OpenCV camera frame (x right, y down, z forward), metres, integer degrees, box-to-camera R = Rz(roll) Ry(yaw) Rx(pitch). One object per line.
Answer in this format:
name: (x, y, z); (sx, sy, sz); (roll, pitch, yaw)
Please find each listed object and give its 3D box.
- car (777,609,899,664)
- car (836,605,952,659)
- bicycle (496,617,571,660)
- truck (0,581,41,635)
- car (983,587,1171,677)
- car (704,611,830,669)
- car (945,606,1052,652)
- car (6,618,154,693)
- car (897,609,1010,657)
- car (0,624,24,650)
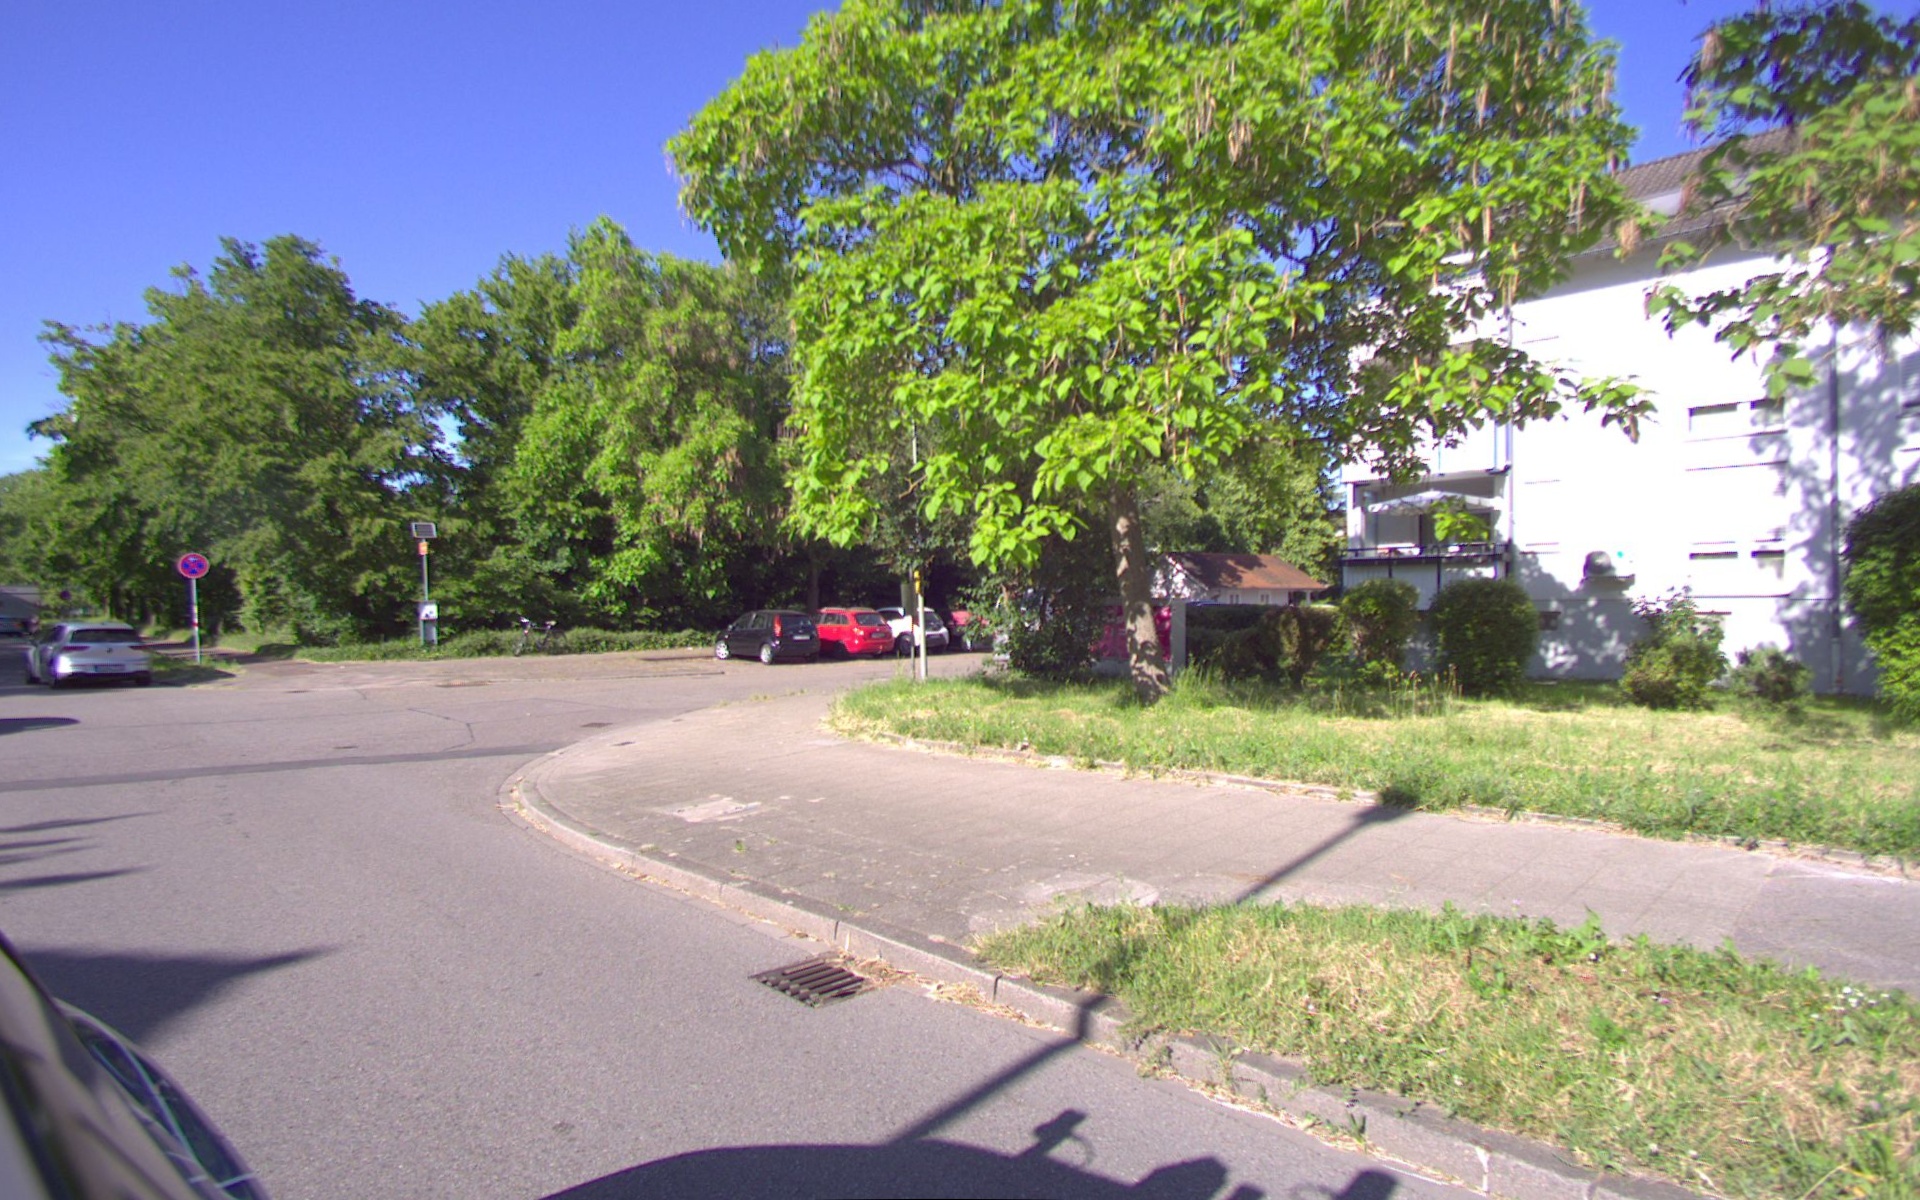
car: (-3.756, 1.055, 30.822); (1.651, 1.498, 3.888); (0, 1, -45)
car: (-2.215, 1.005, 33.257); (1.651, 1.615, 3.888); (0, 1, -45)
bicycle: (-12.295, 1.094, 29.174); (1.874, 1.161, 0.762); (0, 2, -34)
truck: (-73.797, 0.604, 78.996); (2.763, 4.049, 9.635); (2, -1, -44)
car: (2.890, 0.739, 24.396); (4.397, 1.984, 2.071); (0, -2, -42)
car: (-5.590, 1.091, 29.053); (1.651, 1.498, 3.888); (0, 1, -45)
car: (1.401, 1.030, 37.571); (1.651, 1.569, 3.888); (0, 1, -45)
car: (-20.066, 1.193, 23.019); (4.181, 1.478, 1.646); (1, -1, 36)
car: (-0.260, 1.096, 34.929); (1.651, 1.498, 3.888); (0, 1, -45)
car: (-61.453, 2.382, 64.881); (4.002, 1.597, 1.971); (-1, -1, 45)
